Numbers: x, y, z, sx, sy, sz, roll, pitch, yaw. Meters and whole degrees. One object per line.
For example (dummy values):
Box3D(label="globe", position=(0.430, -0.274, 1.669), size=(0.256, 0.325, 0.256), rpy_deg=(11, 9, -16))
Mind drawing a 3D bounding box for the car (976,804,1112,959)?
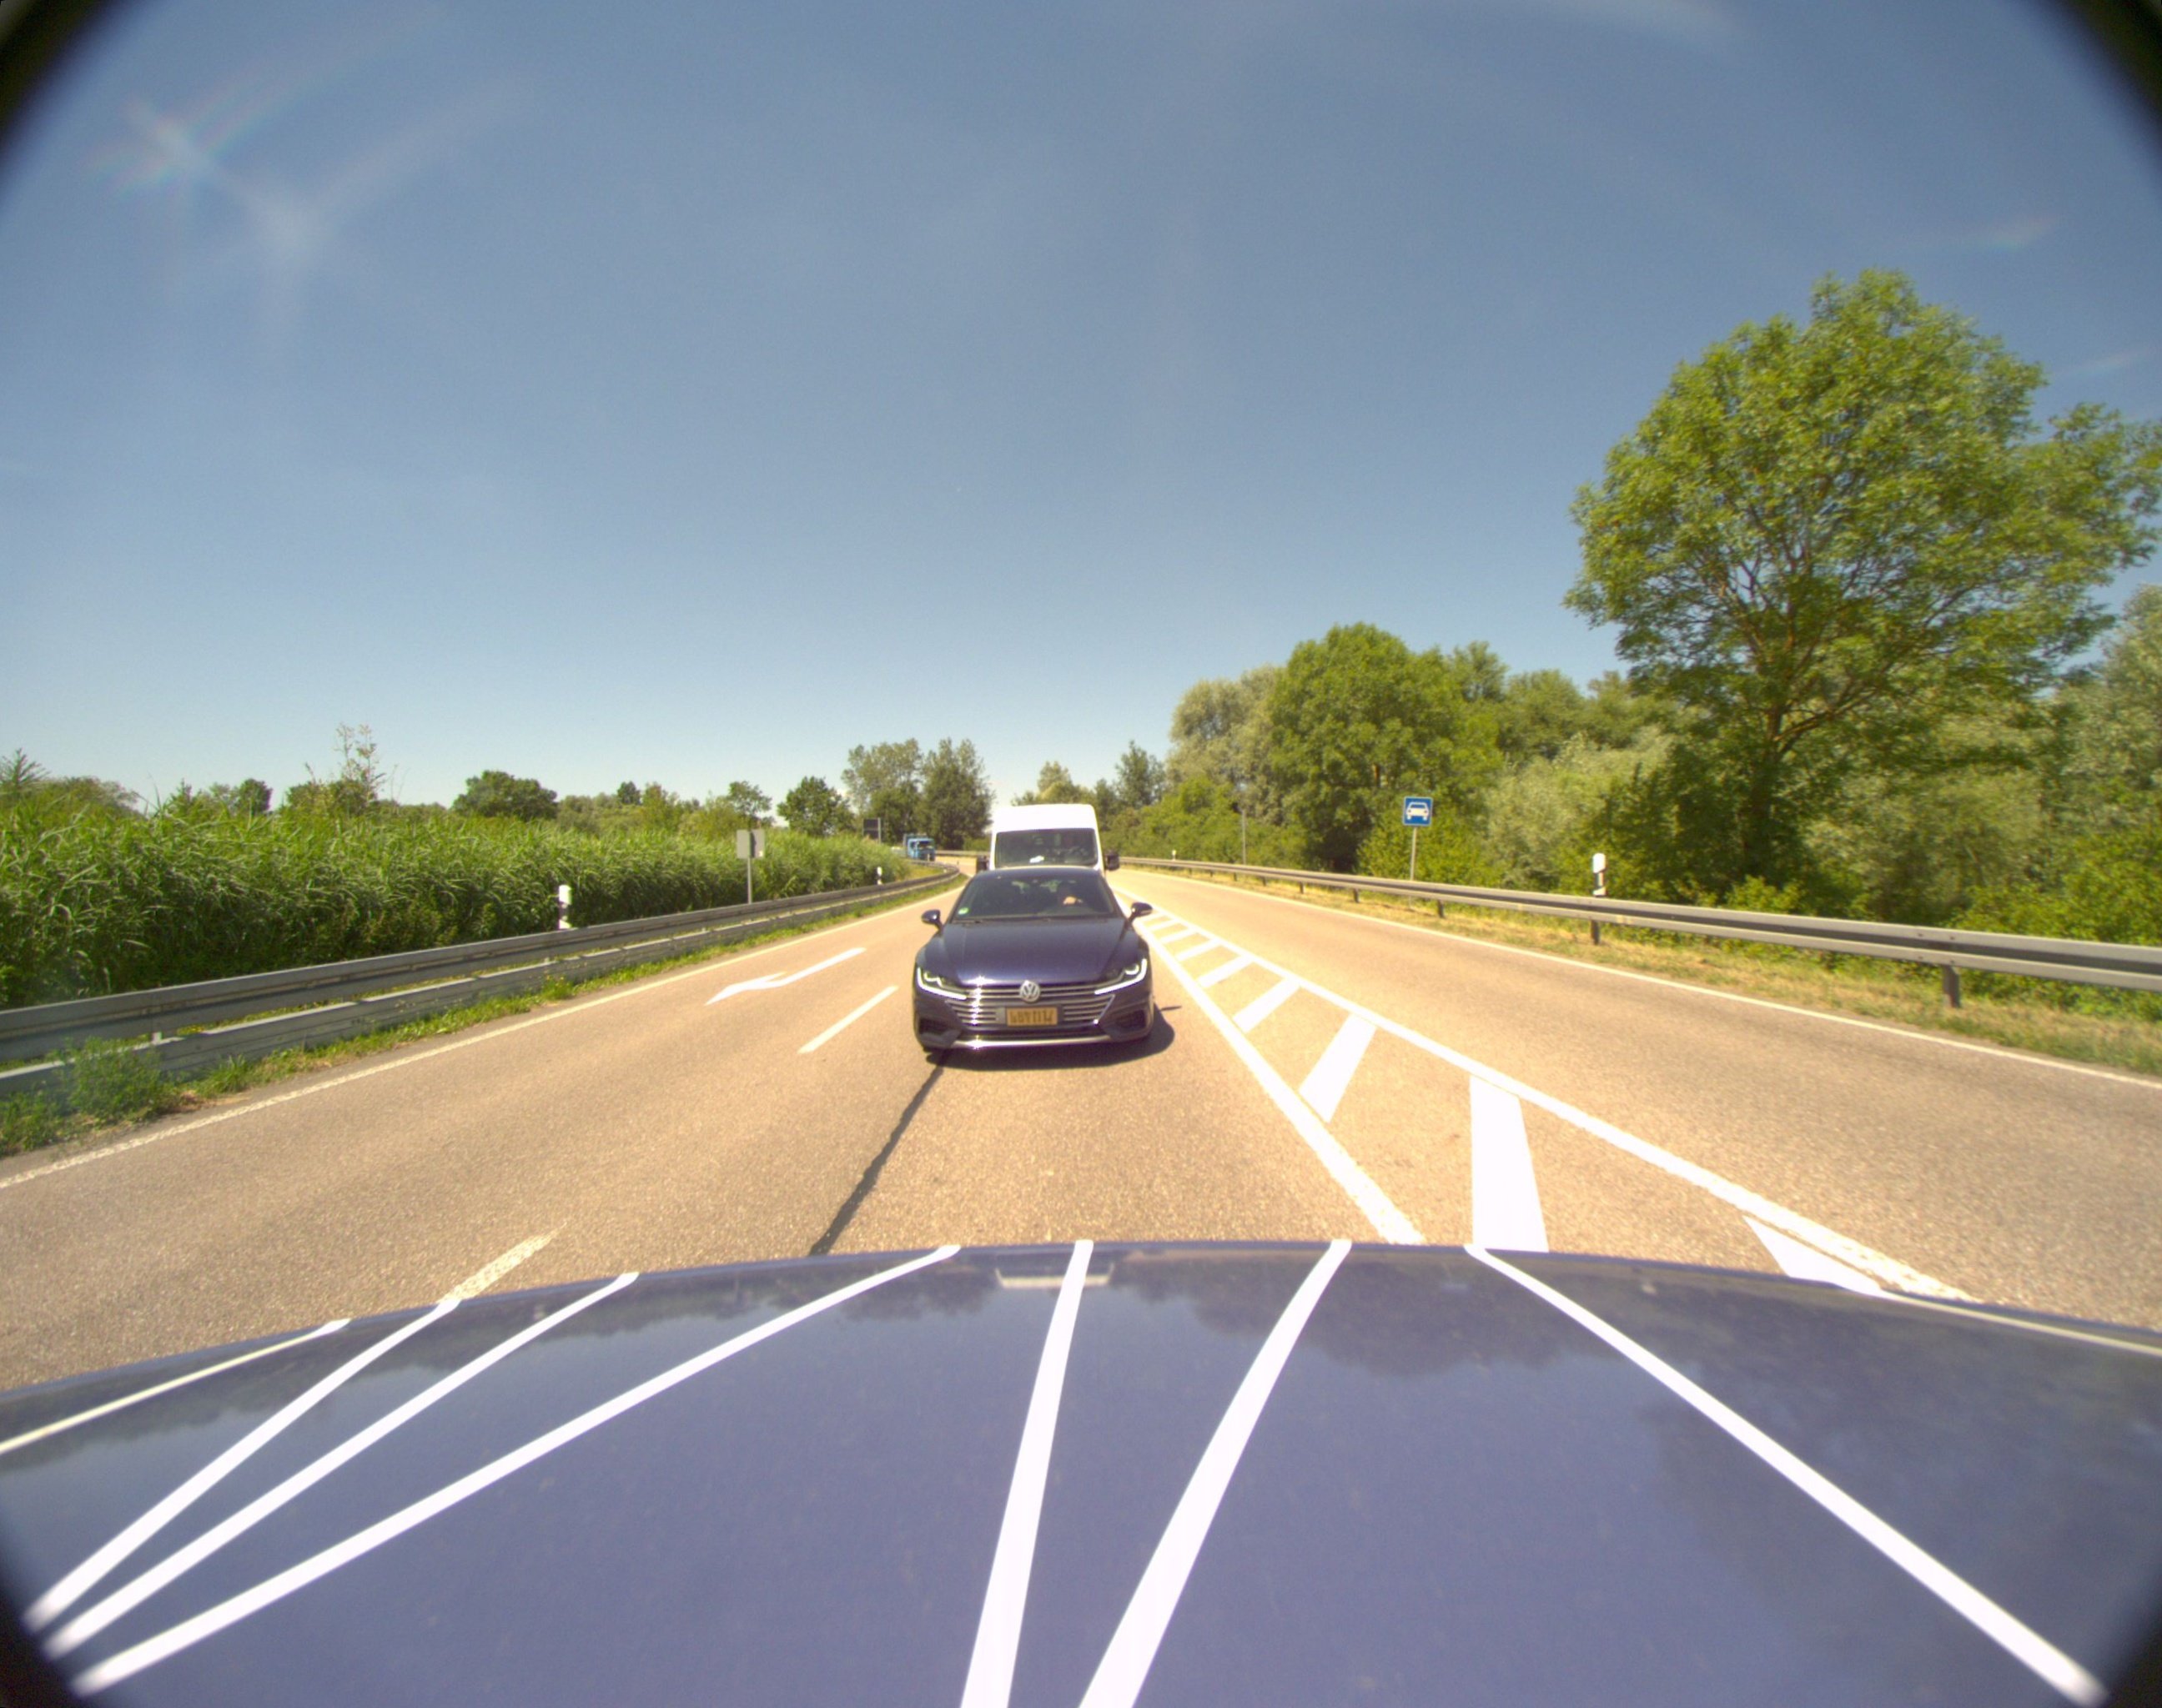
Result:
Box3D(label="car", position=(-0.569, 0.399, 14.896), size=(2.059, 2.376, 5.826), rpy_deg=(-2, 1, 0))

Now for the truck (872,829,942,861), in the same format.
Box3D(label="truck", position=(-17.976, -0.890, 78.095), size=(2.583, 3.052, 9.054), rpy_deg=(-2, 1, -45))

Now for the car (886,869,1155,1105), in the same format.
Box3D(label="car", position=(-0.394, 0.939, 7.114), size=(1.761, 1.401, 3.999), rpy_deg=(-2, 1, 0))
